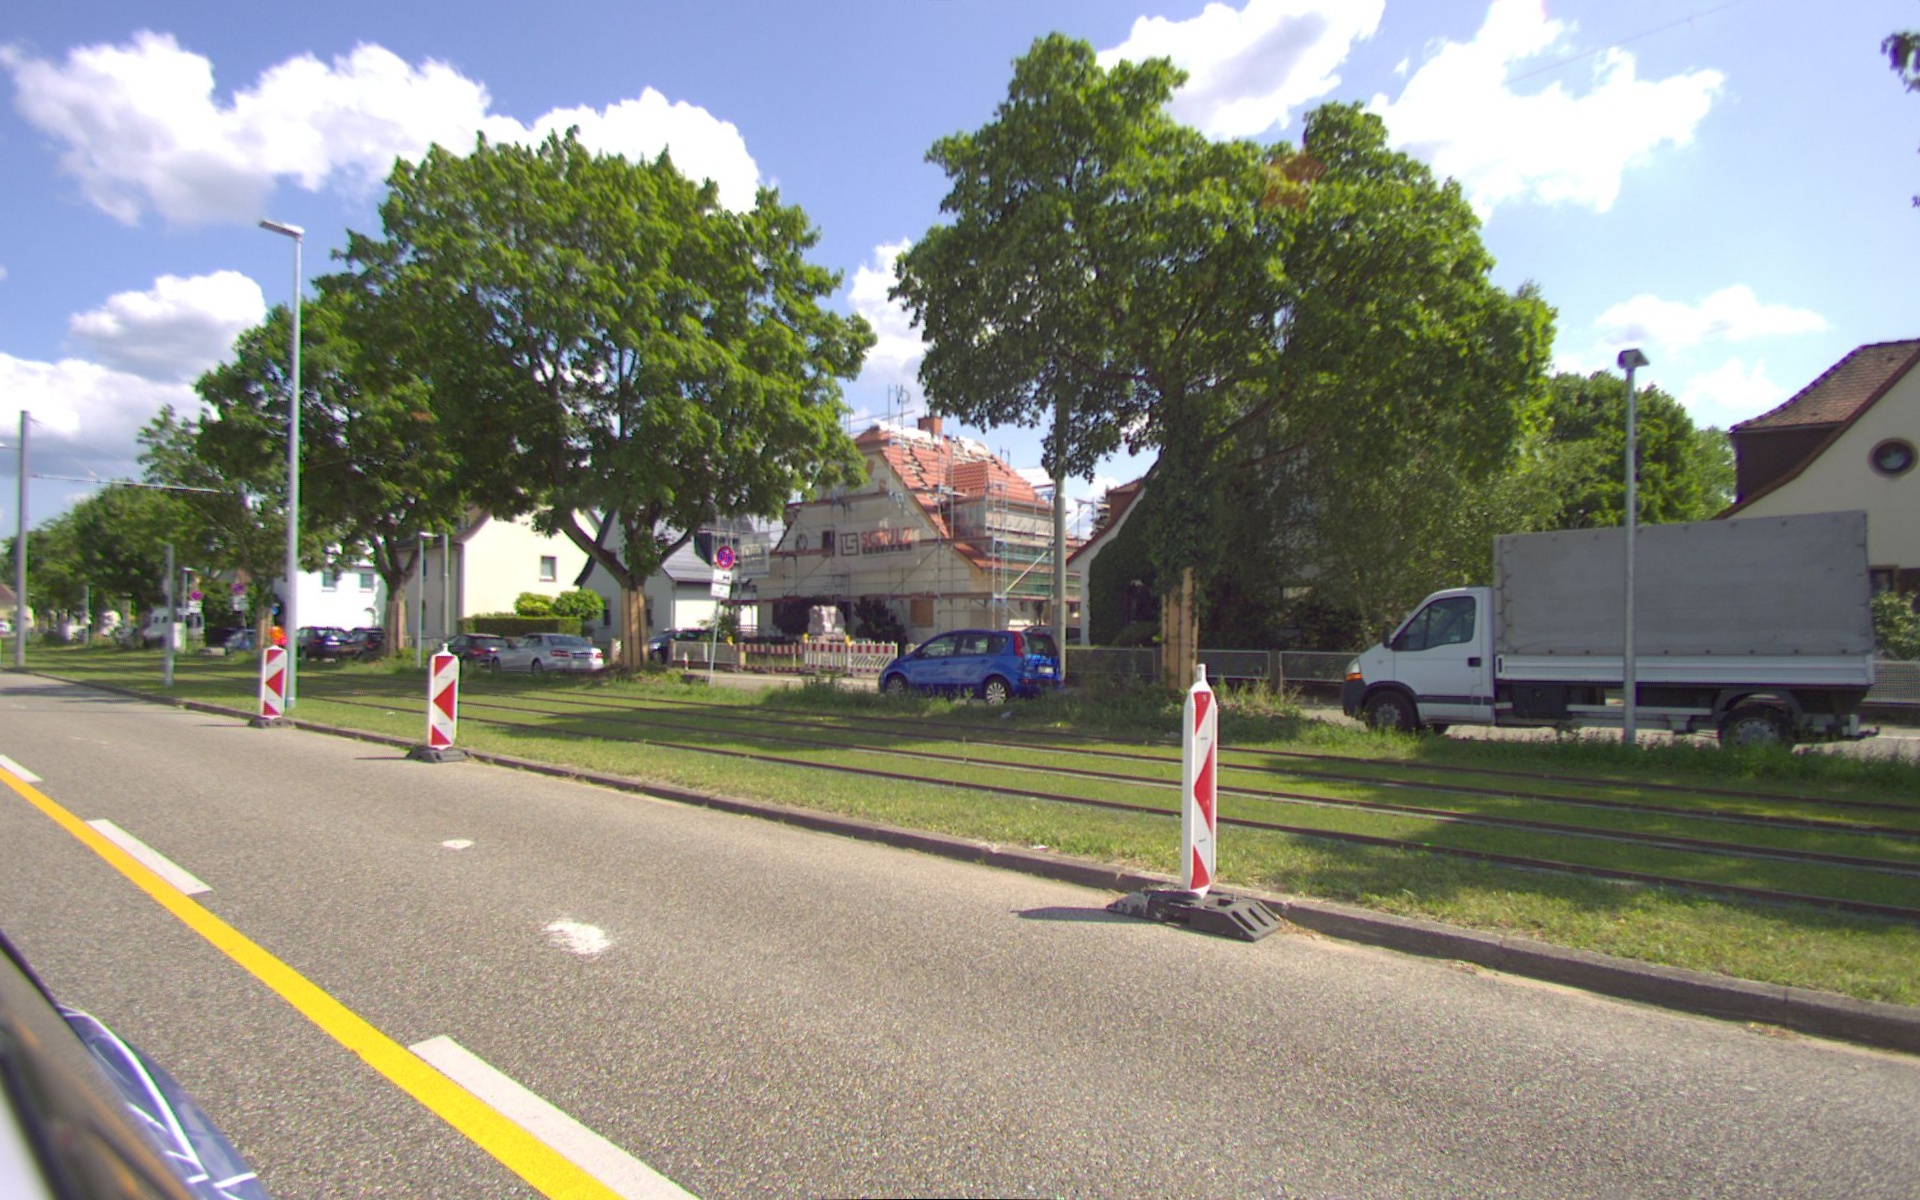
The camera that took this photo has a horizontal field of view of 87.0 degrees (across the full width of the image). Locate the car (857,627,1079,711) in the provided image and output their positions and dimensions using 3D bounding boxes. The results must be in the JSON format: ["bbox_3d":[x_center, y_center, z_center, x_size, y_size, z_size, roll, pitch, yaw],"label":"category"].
[{"bbox_3d":[0.065,1.349,20.276,4.403,1.497,1.680,-3,-3,41],"label":"car"}]

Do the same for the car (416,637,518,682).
[{"bbox_3d":[-17.522,2.113,35.889,4.403,1.497,1.680,-3,-3,41],"label":"car"}]

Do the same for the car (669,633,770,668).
[{"bbox_3d":[-10.928,2.286,46.207,1.702,1.497,4.345,-3,-3,41],"label":"car"}]

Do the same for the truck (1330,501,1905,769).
[{"bbox_3d":[8.299,0.453,13.399,5.971,2.802,2.242,-2,-3,41],"label":"truck"}]

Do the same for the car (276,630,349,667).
[{"bbox_3d":[-29.496,2.217,46.069,4.403,1.584,1.680,-3,-3,41],"label":"car"}]

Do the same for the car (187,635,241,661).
[{"bbox_3d":[-44.479,2.865,60.324,4.403,1.497,1.680,-3,-3,41],"label":"car"}]

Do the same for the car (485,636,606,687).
[{"bbox_3d":[-13.111,1.927,31.844,4.520,1.497,1.765,-4,-3,42],"label":"car"}]

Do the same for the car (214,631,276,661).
[{"bbox_3d":[-37.496,2.419,53.044,4.403,1.497,1.680,-3,-3,41],"label":"car"}]

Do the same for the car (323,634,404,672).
[{"bbox_3d":[-25.181,2.246,42.646,4.403,1.497,1.680,-3,-3,41],"label":"car"}]

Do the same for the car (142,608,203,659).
[{"bbox_3d":[-49.519,2.151,63.601,5.080,3.061,2.108,-3,-3,41],"label":"car"}]
